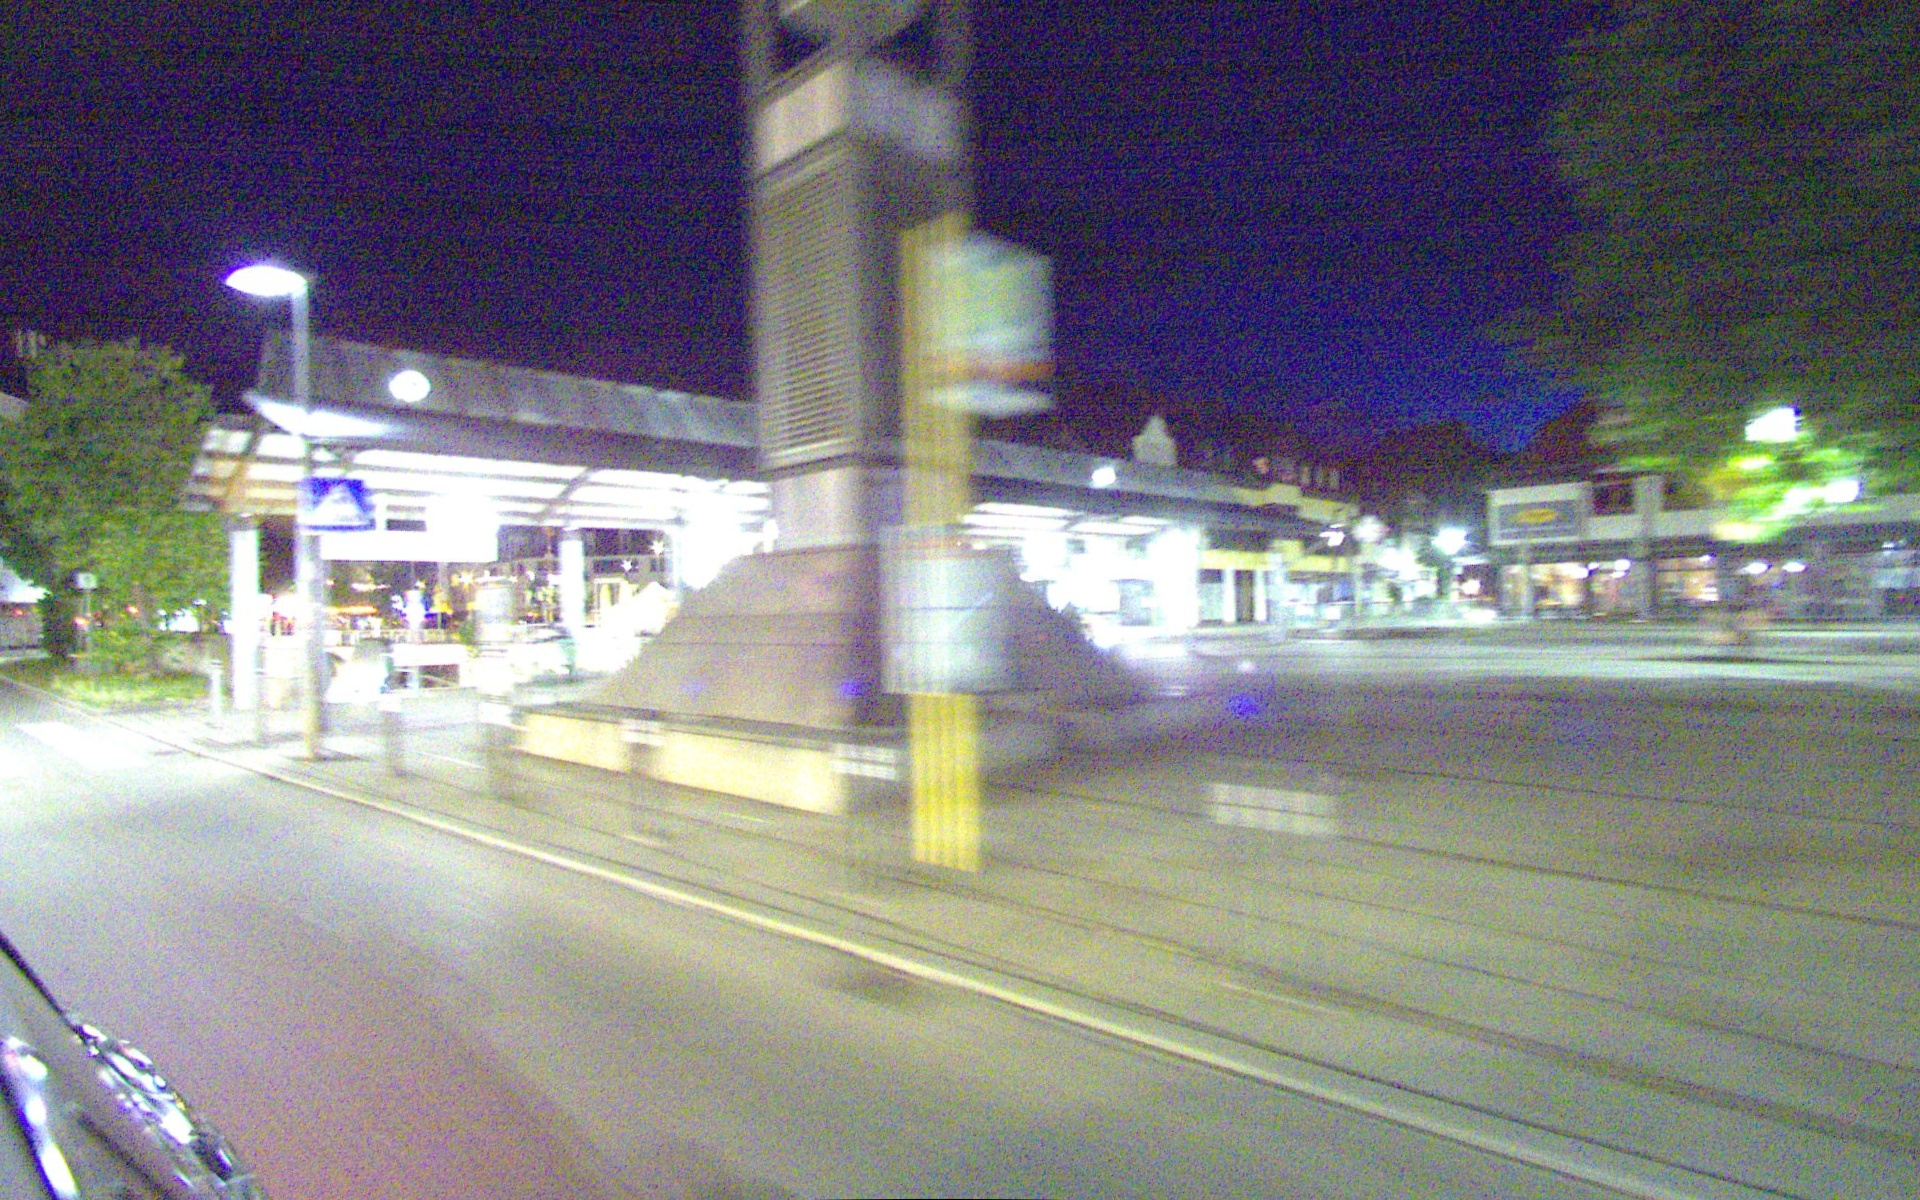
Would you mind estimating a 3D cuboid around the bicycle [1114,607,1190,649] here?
[{"bbox_3d":[6.512,0.939,34.449,2.509,1.374,0.765,0,0,40],"label":"bicycle"}]

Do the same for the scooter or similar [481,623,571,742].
[{"bbox_3d":[-4.998,0.922,11.617,1.448,1.273,0.365,-3,-1,43],"label":"scooter or similar"}]

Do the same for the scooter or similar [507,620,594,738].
[{"bbox_3d":[-4.805,0.906,11.846,1.448,1.298,0.313,-3,-1,42],"label":"scooter or similar"}]

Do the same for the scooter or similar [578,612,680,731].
[{"bbox_3d":[-4.140,0.872,12.610,1.351,1.390,0.589,-3,-2,41],"label":"scooter or similar"}]
